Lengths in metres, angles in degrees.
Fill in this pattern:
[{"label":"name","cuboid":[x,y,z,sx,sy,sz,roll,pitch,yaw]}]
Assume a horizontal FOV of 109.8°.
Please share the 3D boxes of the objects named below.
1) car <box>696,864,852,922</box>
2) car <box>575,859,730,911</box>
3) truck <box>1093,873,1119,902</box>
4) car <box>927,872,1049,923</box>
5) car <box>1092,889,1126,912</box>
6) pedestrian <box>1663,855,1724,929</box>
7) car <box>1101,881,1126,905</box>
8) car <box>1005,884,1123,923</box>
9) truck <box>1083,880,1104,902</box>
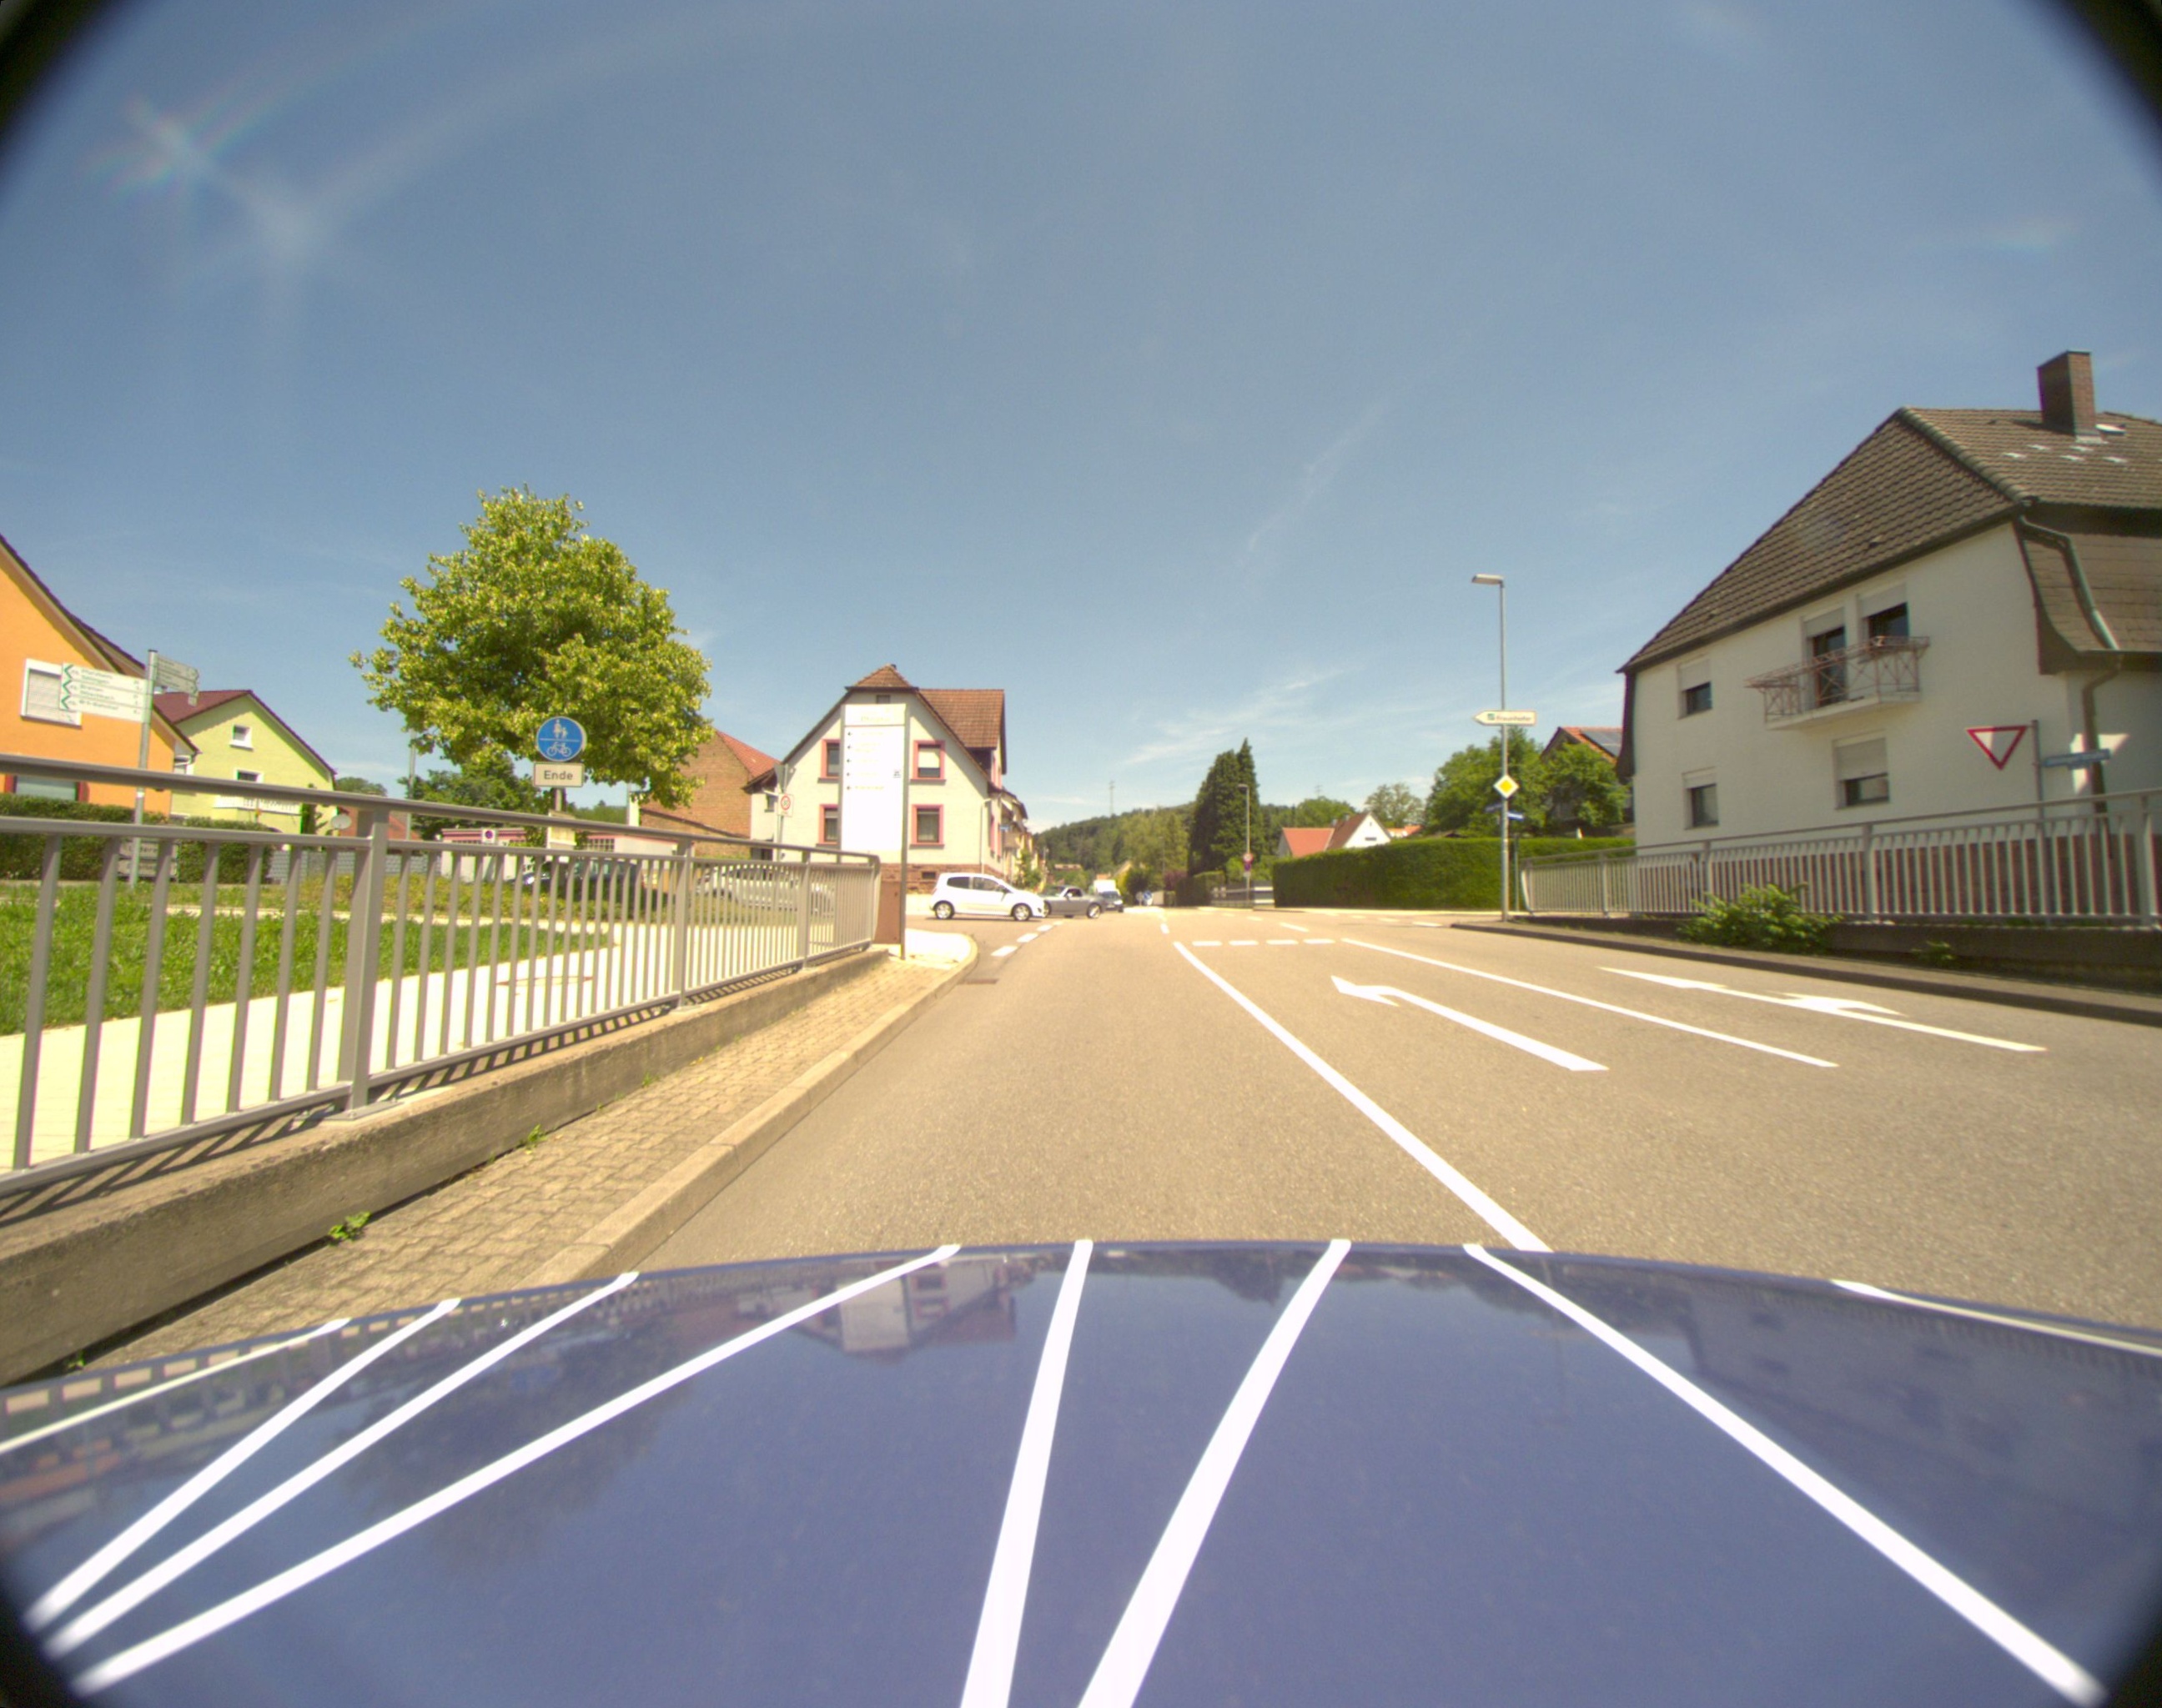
[{"label":"car","cuboid":[-9.161,1.193,22.996,4.130,1.526,1.773,3,-3,-19]},{"label":"car","cuboid":[-14.464,1.098,25.858,1.864,1.579,4.167,-3,-4,33]},{"label":"truck","cuboid":[3.126,4.365,96.288,3.149,3.464,8.278,-1,-3,1]},{"label":"car","cuboid":[-2.904,1.367,24.095,3.681,1.469,1.775,1,-2,-6]},{"label":"car","cuboid":[1.789,3.077,50.257,1.864,1.440,4.001,-1,-4,-3]},{"label":"pedestrian","cuboid":[14.721,0.892,18.285,0.729,1.719,0.856,-1,0,-3]},{"label":"car","cuboid":[2.971,3.528,69.583,1.999,2.001,4.549,-2,-2,0]},{"label":"car","cuboid":[-0.589,1.821,28.682,4.165,1.296,1.907,1,-2,-40]},{"label":"truck","cuboid":[1.957,5.967,121.138,3.149,3.464,8.276,-1,-3,0]}]
